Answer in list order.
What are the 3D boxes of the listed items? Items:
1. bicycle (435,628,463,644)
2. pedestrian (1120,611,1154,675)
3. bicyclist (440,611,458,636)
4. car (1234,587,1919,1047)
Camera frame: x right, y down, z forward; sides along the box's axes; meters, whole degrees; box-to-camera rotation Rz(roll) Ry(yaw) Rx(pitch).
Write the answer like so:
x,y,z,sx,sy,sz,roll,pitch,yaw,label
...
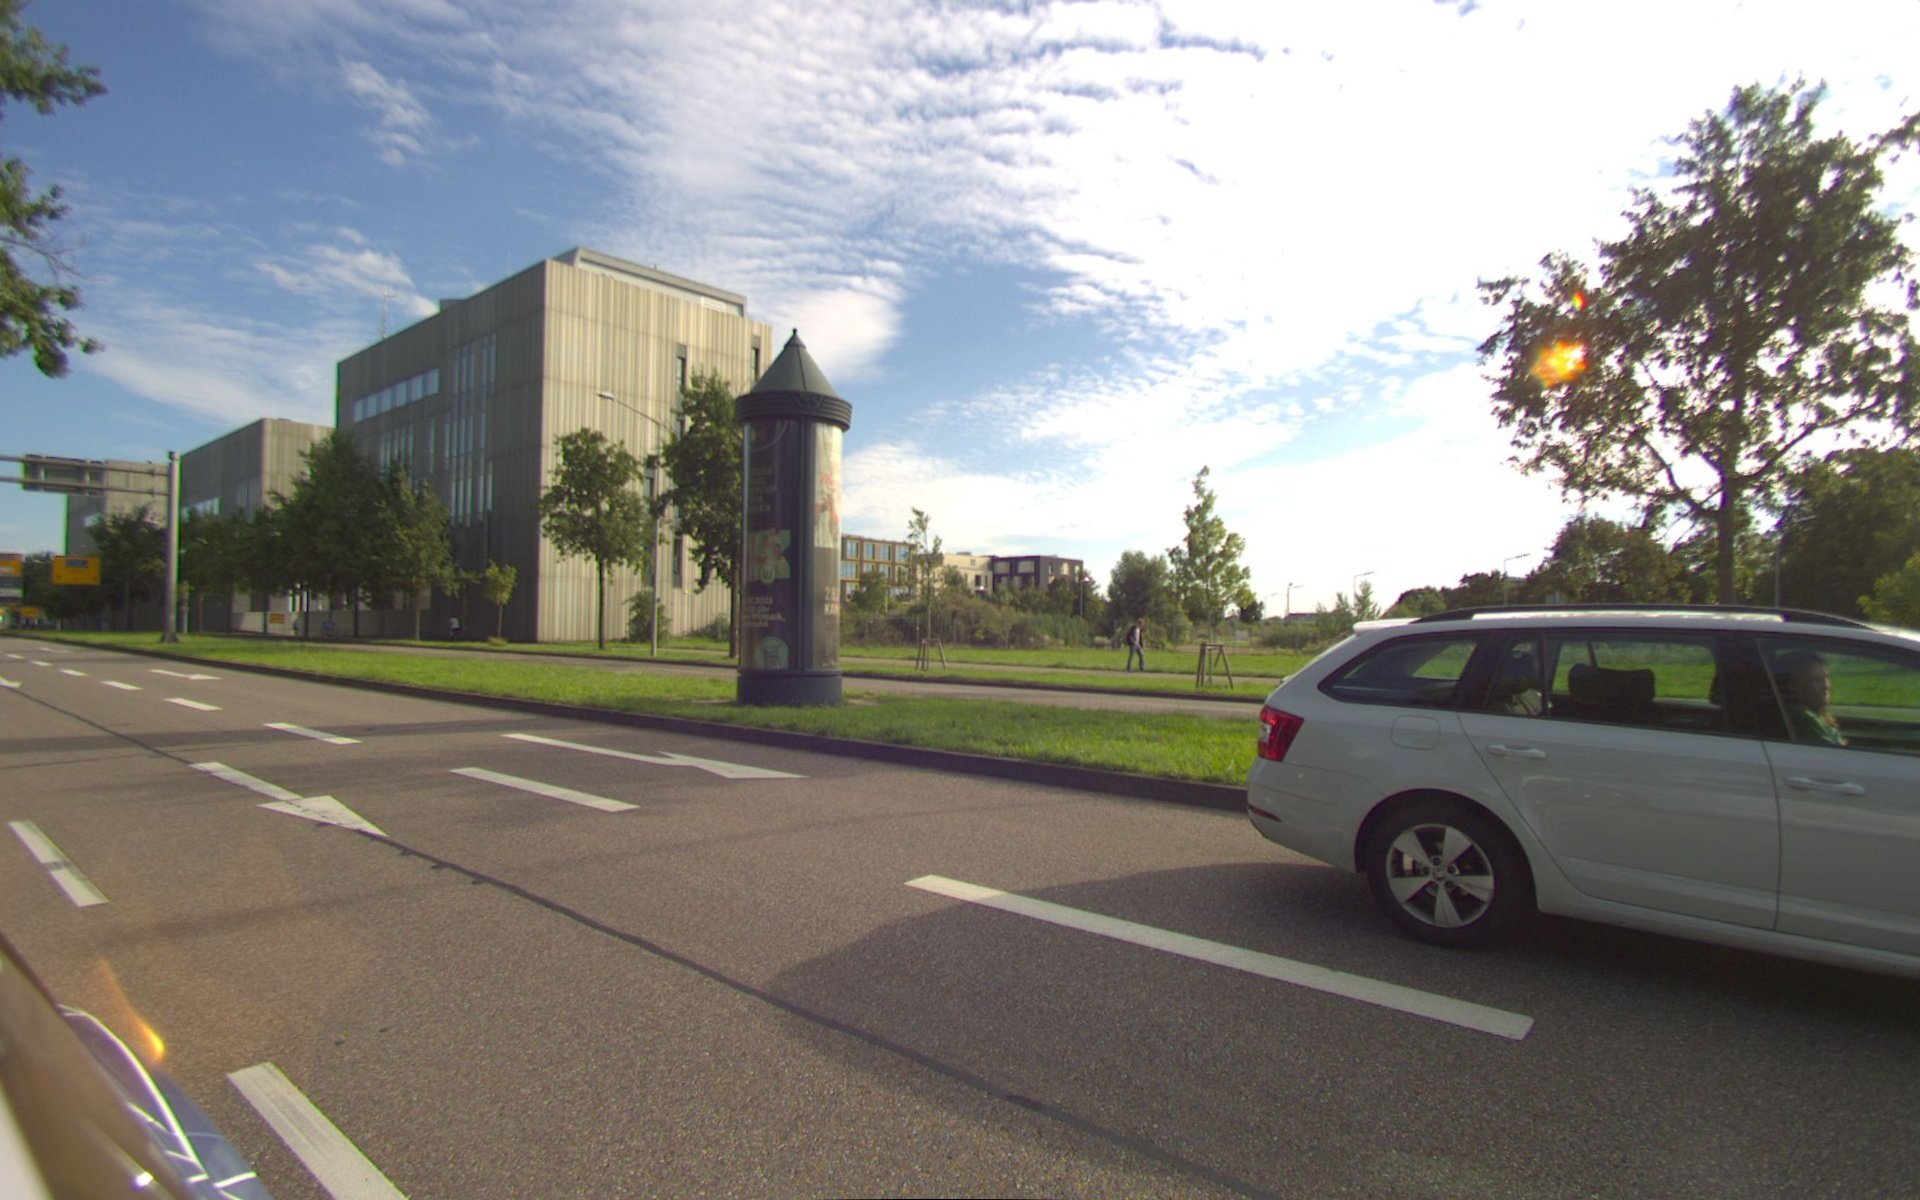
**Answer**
x,y,z,sx,sy,sz,roll,pitch,yaw,label
-32.440,2.268,64.223,1.910,0.989,0.885,-1,-3,41,bicycle
5.705,1.393,32.623,0.867,2.029,0.667,-1,-3,41,pedestrian
-32.433,1.501,64.253,0.989,1.537,0.698,-1,-3,41,bicyclist
3.563,0.720,4.089,4.479,1.510,1.681,-1,-1,41,car
